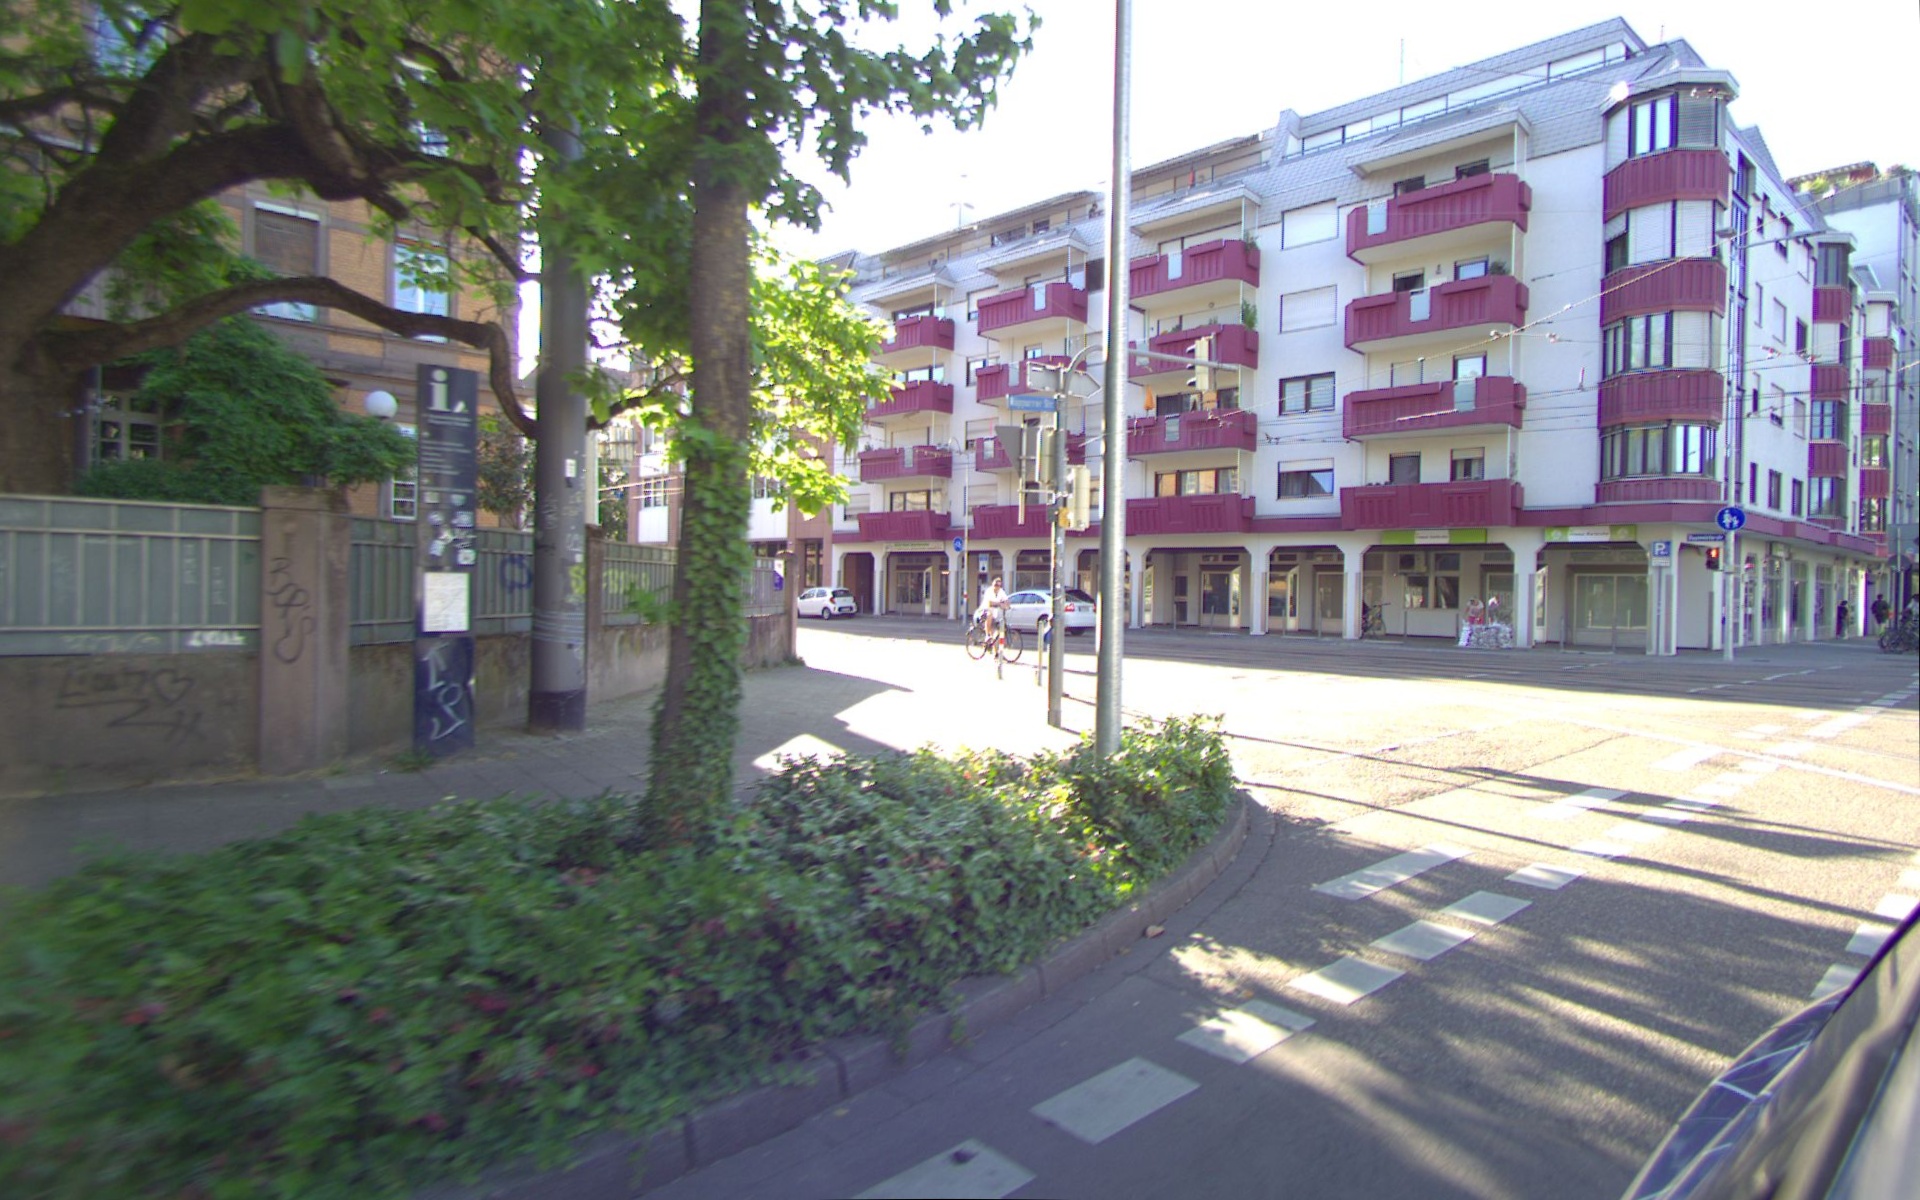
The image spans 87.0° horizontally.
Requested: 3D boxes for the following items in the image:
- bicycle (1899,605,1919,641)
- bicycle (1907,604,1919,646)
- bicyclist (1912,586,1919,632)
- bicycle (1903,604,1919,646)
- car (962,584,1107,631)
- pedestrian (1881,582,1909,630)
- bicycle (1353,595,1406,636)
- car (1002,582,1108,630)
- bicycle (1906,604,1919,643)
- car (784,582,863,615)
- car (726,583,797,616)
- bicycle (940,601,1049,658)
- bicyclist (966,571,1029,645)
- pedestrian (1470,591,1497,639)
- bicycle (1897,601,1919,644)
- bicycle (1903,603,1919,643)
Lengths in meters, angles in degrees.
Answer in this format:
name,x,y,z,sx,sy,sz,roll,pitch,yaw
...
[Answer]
name,x,y,z,sx,sy,sz,roll,pitch,yaw
bicycle,33.581,0.804,34.617,2.543,1.198,0.965,1,0,-16
bicycle,28.478,0.737,29.197,0.486,1.214,1.628,0,1,-34
bicyclist,33.550,0.322,34.611,1.056,1.559,1.062,0,0,-16
bicycle,28.879,0.743,29.593,0.487,1.236,1.837,1,0,-35
car,2.456,0.216,34.292,4.885,1.474,1.825,1,0,45
pedestrian,36.816,0.233,39.847,0.787,1.881,0.724,0,0,-40
bicycle,13.222,0.467,31.947,0.603,1.214,1.801,0,1,-12
car,3.538,0.211,38.130,1.708,1.705,3.901,0,0,-41
bicycle,29.964,0.723,30.605,0.562,1.185,1.943,0,1,-42
car,-6.552,-0.069,48.244,1.880,1.489,3.993,0,0,-41
car,-10.239,-0.022,52.108,1.858,1.638,3.993,0,0,-41
bicycle,0.717,0.609,21.784,2.320,1.133,0.834,1,0,40
bicyclist,0.810,0.157,21.713,0.924,1.528,0.998,1,0,40
pedestrian,15.391,0.430,29.753,0.656,1.367,0.651,1,0,24
bicycle,27.896,0.646,28.751,0.535,1.214,1.808,-1,1,-34
bicycle,29.503,0.705,30.199,0.581,1.214,1.979,0,1,-43
